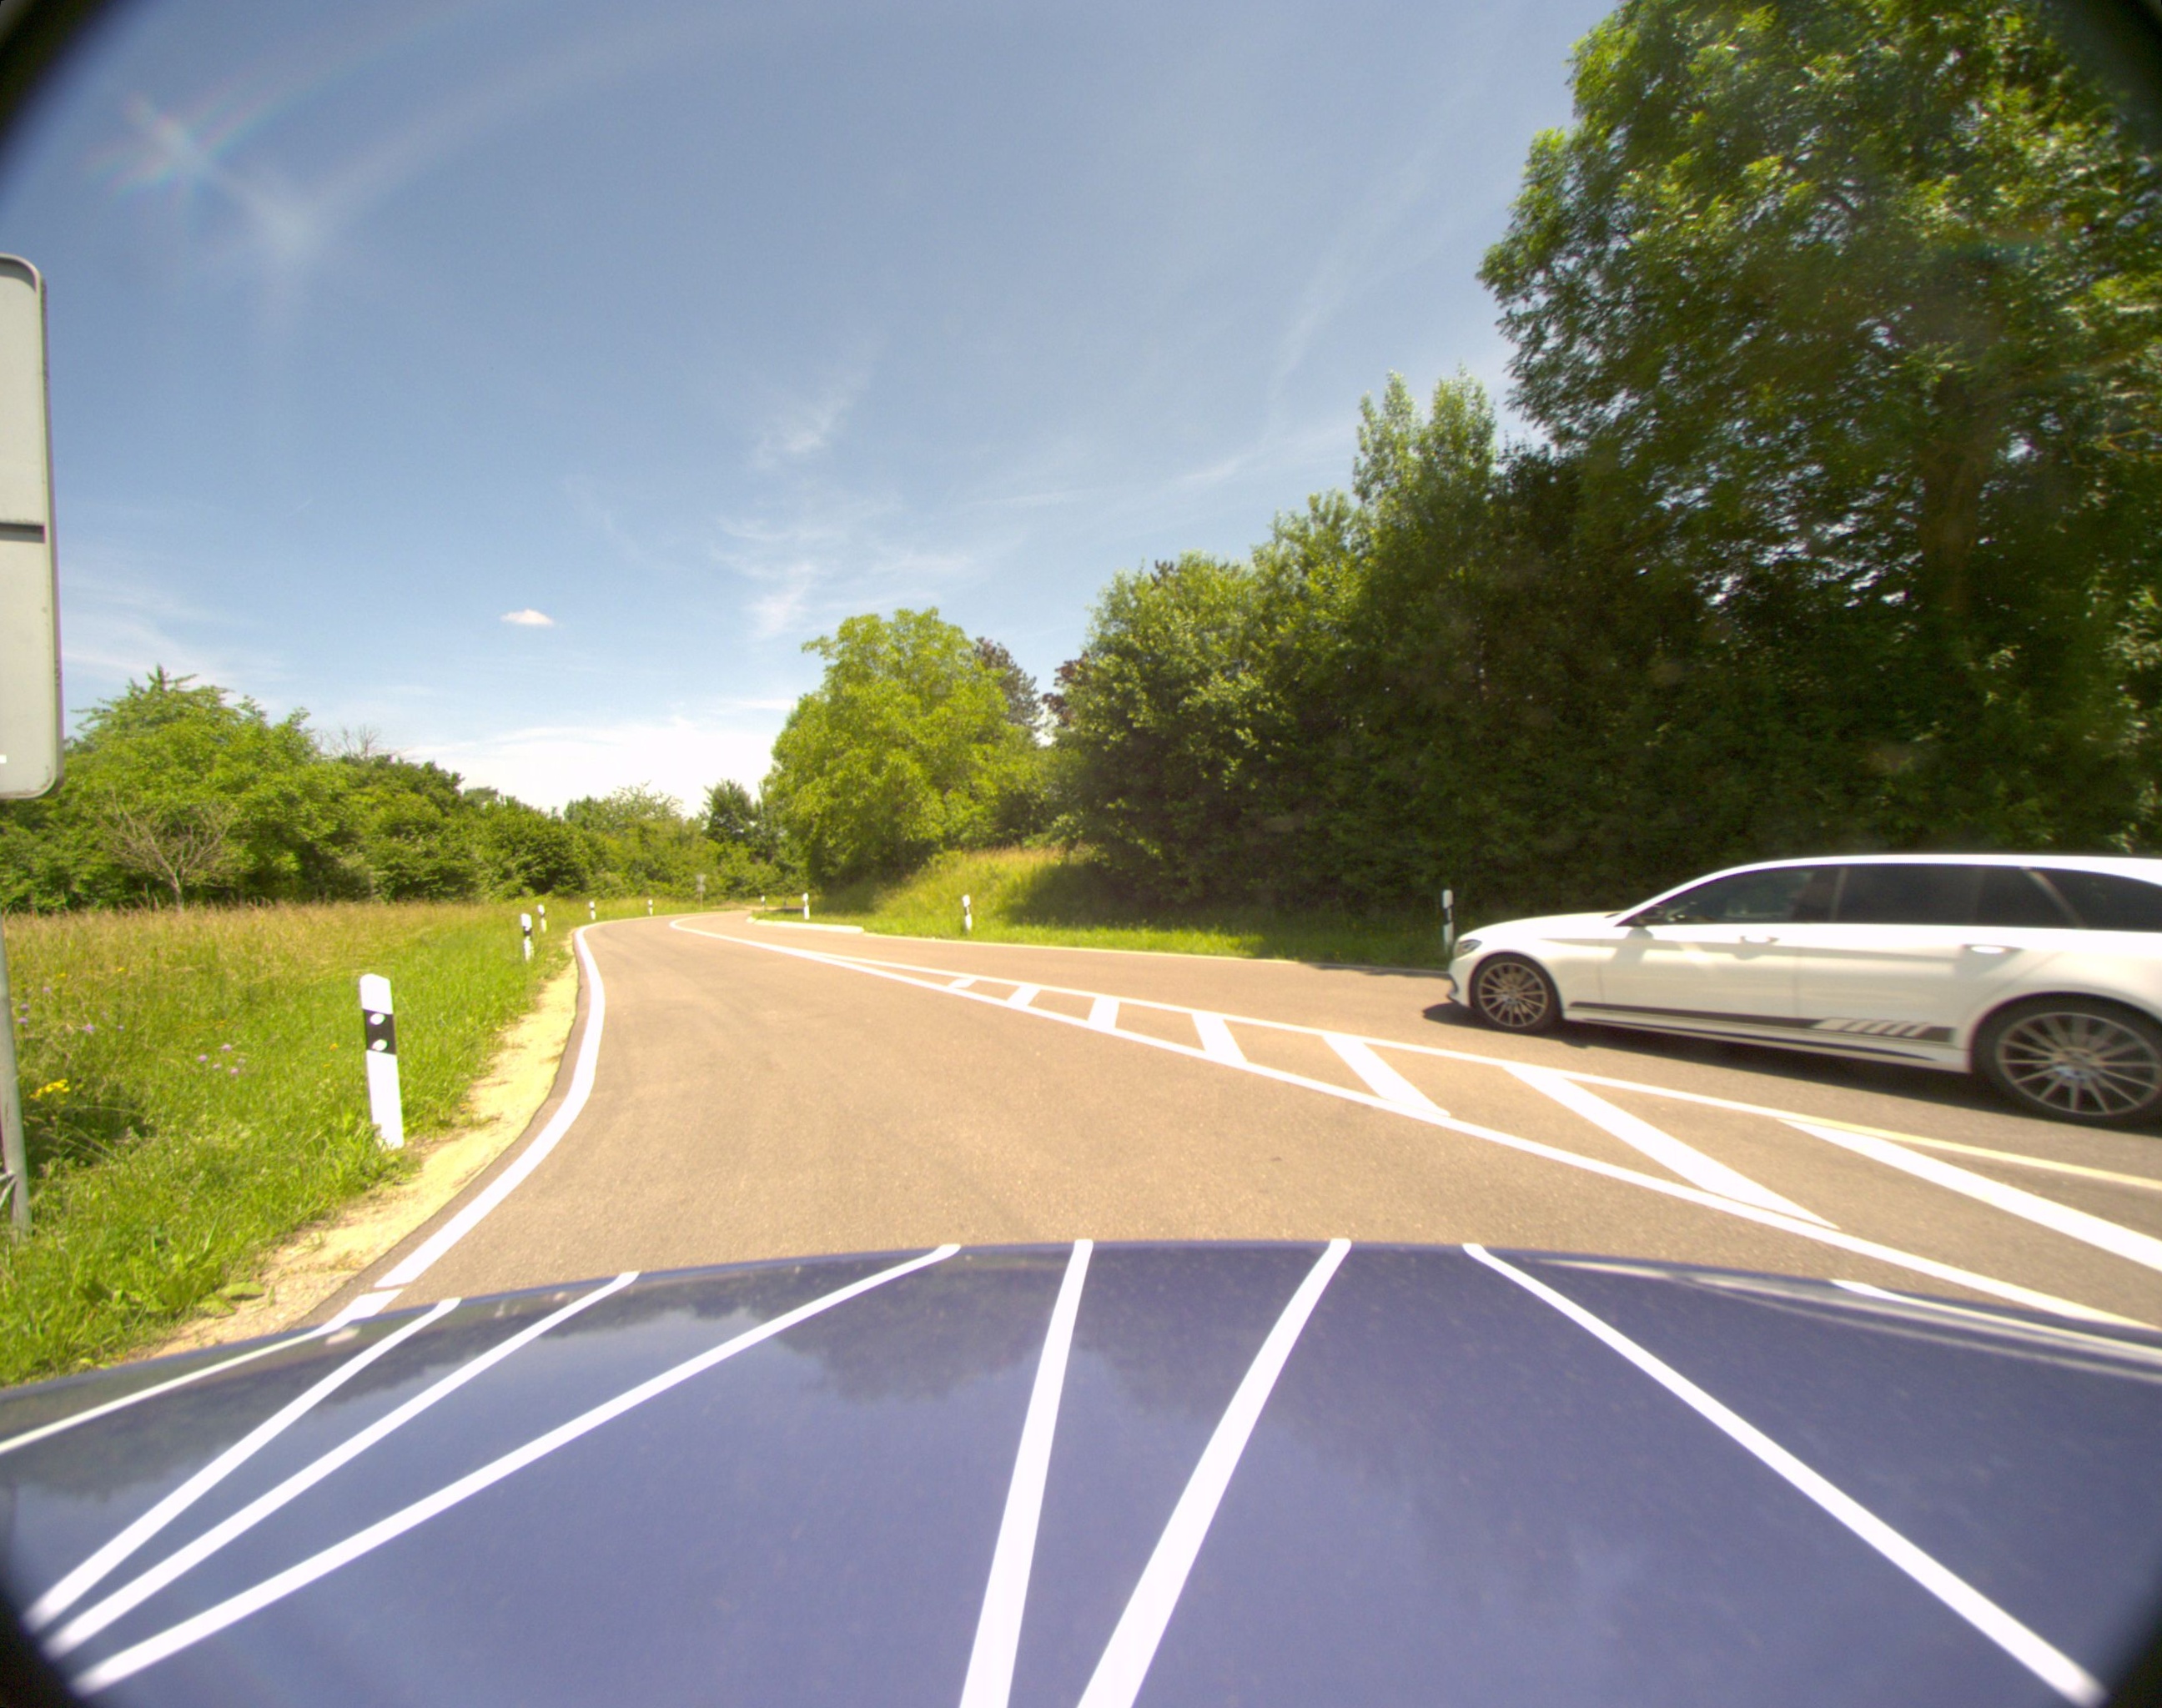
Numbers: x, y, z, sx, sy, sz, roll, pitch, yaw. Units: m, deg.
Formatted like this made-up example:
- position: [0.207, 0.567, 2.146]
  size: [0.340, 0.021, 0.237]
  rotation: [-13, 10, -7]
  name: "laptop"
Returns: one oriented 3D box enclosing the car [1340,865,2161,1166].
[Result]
- position: [4.857, 0.857, 5.875]
  size: [1.813, 1.404, 5.321]
  rotation: [-2, 0, -35]
  name: "car"
